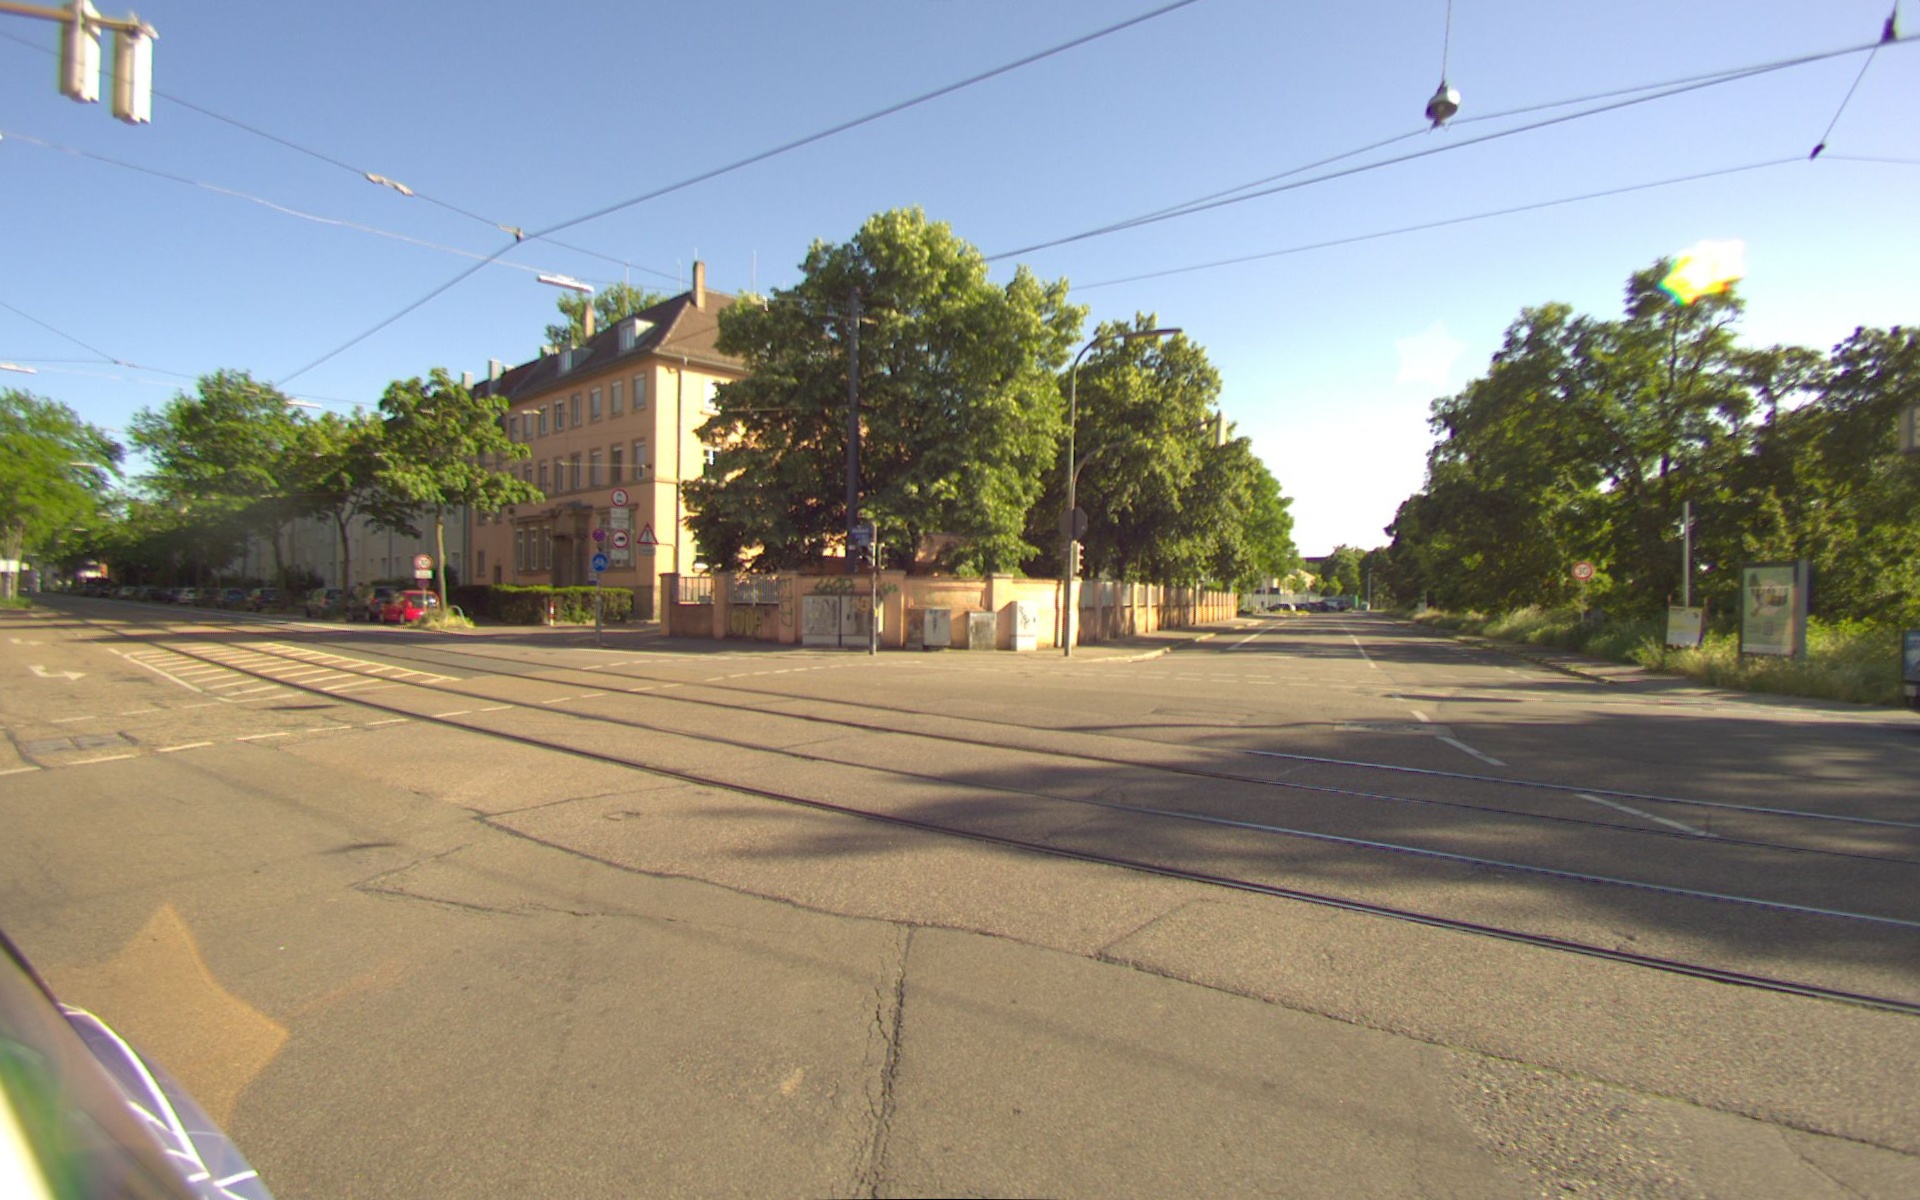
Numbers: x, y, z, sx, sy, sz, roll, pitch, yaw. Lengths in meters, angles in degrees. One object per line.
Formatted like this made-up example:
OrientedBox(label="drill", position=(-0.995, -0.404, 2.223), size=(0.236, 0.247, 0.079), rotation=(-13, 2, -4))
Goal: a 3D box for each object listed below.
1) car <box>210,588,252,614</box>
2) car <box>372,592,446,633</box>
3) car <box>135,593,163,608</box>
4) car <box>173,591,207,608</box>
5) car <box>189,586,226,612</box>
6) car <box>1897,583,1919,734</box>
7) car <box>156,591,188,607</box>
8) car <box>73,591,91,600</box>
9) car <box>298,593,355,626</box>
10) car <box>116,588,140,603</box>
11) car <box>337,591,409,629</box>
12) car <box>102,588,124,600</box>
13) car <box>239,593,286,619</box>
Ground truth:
OrientedBox(label="car", position=(-53.292, 0.050, 73.943), size=(3.796, 1.839, 1.791), rotation=(1, 0, 44))
OrientedBox(label="car", position=(-24.151, 0.510, 44.343), size=(3.374, 1.719, 1.792), rotation=(1, 0, 42))
OrientedBox(label="car", position=(-84.459, 0.054, 105.369), size=(3.631, 1.430, 1.791), rotation=(1, 0, 44))
OrientedBox(label="car", position=(-66.330, -0.058, 87.188), size=(3.631, 1.430, 1.791), rotation=(1, 0, 44))
OrientedBox(label="car", position=(-59.801, -0.093, 80.415), size=(3.631, 1.955, 1.791), rotation=(1, 0, 44))
OrientedBox(label="car", position=(13.468, 0.754, 10.629), size=(5.020, 1.780, 1.977), rotation=(2, 0, 35))
OrientedBox(label="car", position=(-72.742, -0.115, 93.407), size=(3.631, 1.430, 1.791), rotation=(1, 0, 44))
OrientedBox(label="car", position=(-140.672, -0.687, 162.124), size=(3.631, 1.430, 1.791), rotation=(1, 0, 44))
OrientedBox(label="car", position=(-33.662, 0.499, 53.767), size=(1.790, 1.671, 3.880), rotation=(1, 0, -44))
OrientedBox(label="car", position=(-100.746, -0.559, 122.540), size=(3.631, 1.792, 1.791), rotation=(1, 0, 44))
OrientedBox(label="car", position=(-27.564, 0.445, 47.493), size=(3.819, 1.671, 1.792), rotation=(1, 0, 42))
OrientedBox(label="car", position=(-109.270, -0.791, 130.487), size=(3.631, 1.534, 1.791), rotation=(1, 0, 44))
OrientedBox(label="car", position=(-45.036, 0.350, 65.347), size=(3.631, 1.611, 1.791), rotation=(1, 0, 44))
